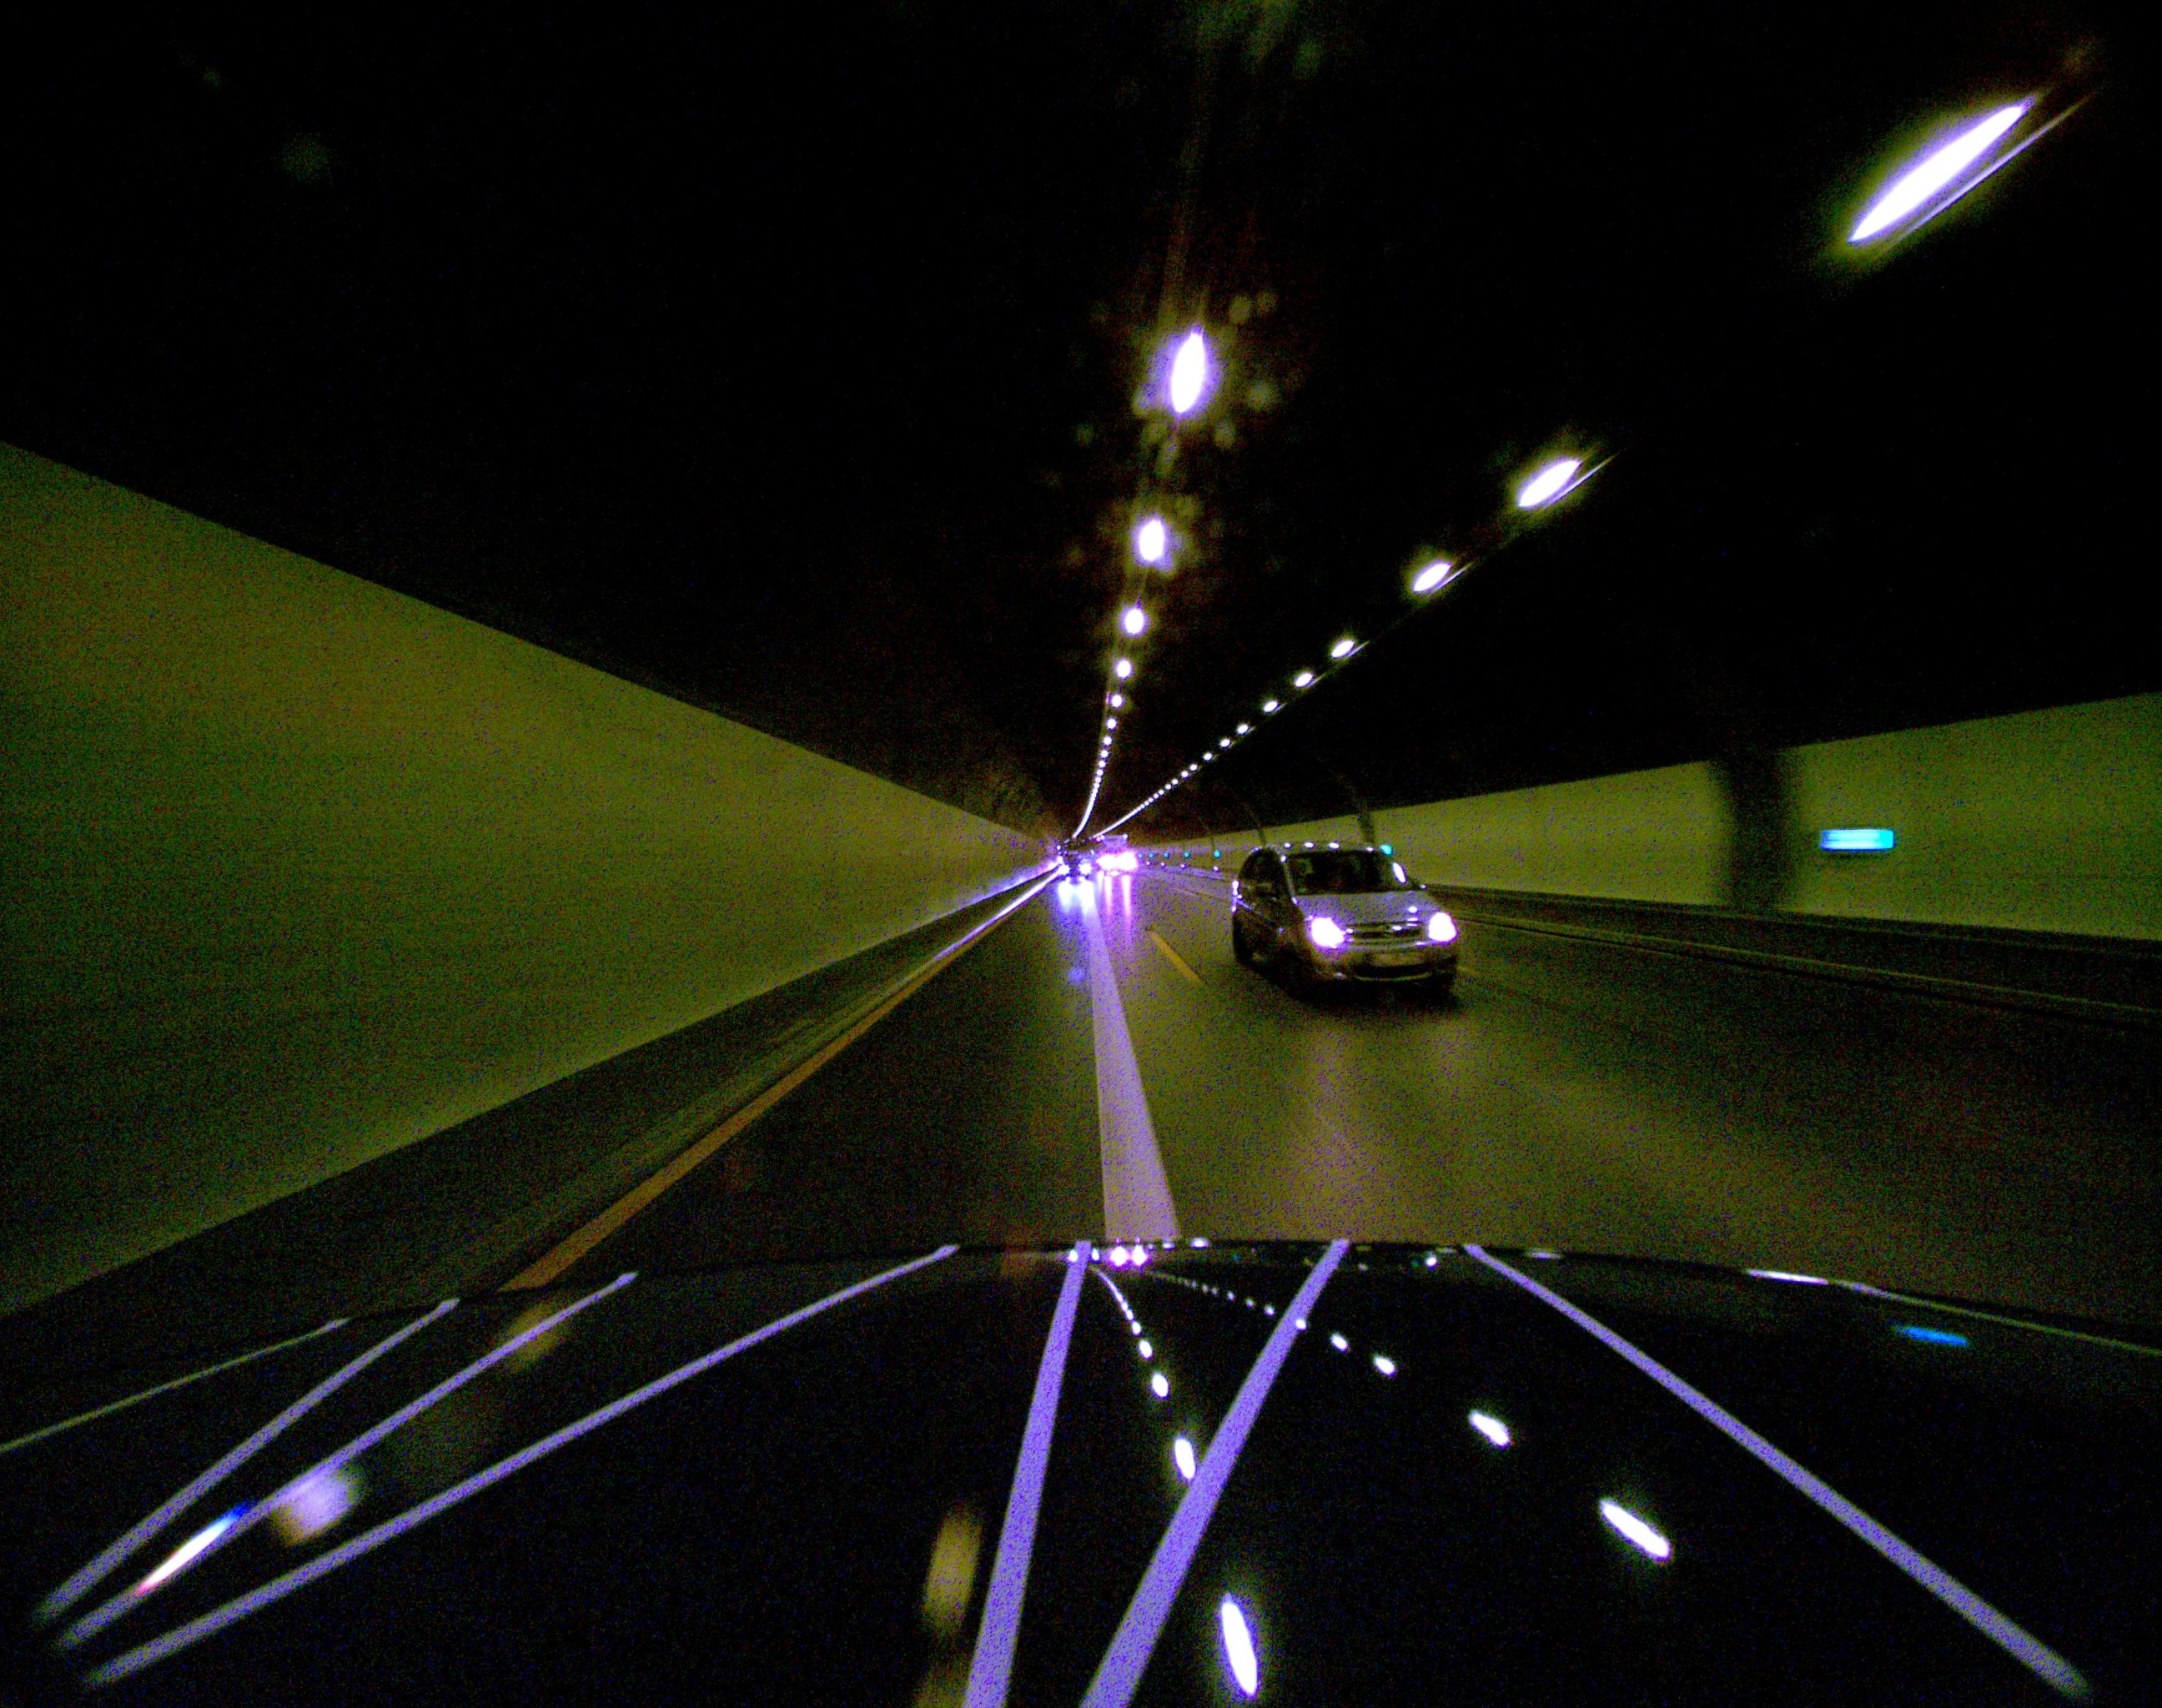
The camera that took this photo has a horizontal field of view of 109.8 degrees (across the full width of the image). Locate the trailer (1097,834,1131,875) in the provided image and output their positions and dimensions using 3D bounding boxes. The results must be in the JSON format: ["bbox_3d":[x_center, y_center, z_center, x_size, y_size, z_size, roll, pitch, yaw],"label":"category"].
[{"bbox_3d":[2.858,0.066,68.630,2.374,3.328,12.078,0,0,0],"label":"trailer"}]

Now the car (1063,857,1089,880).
[{"bbox_3d":[-0.357,0.977,53.330,1.728,1.474,4.000,-1,0,0],"label":"car"}]

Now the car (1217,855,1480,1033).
[{"bbox_3d":[2.844,0.842,9.105,1.766,1.563,4.097,-2,0,1],"label":"car"}]

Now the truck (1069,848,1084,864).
[{"bbox_3d":[-0.855,0.234,130.923,2.151,2.610,9.902,-2,1,-3],"label":"truck"}]

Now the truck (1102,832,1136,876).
[{"bbox_3d":[3.045,-0.006,61.992,2.374,3.328,4.719,-4,0,1],"label":"truck"}]
